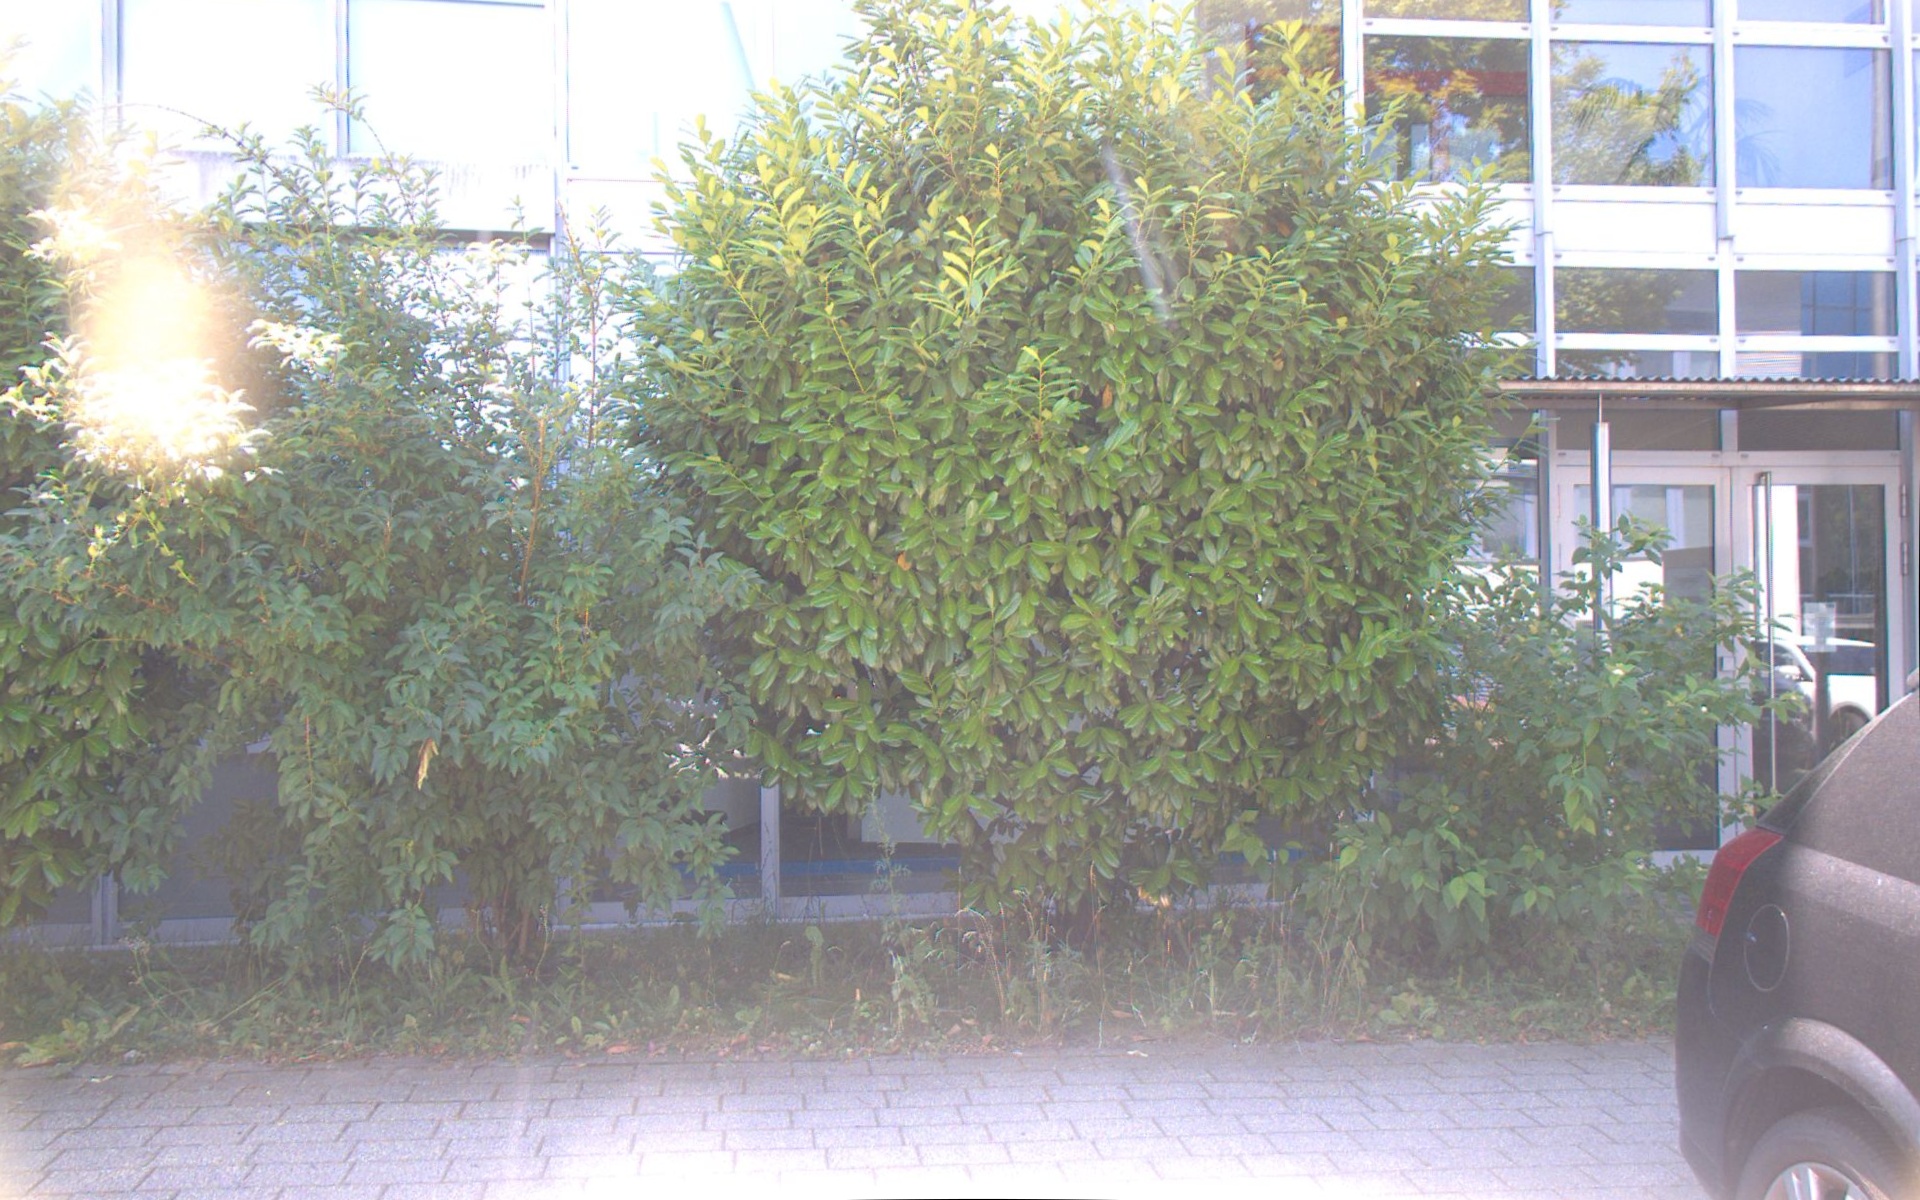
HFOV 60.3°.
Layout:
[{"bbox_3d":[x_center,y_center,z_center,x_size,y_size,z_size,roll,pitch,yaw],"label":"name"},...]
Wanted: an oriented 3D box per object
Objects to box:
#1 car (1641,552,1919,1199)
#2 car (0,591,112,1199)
[{"bbox_3d":[2.513,0.712,1.373,1.723,1.576,4.561,1,0,-5],"label":"car"},{"bbox_3d":[-2.294,0.718,1.219,1.688,1.505,4.339,1,0,-9],"label":"car"}]
